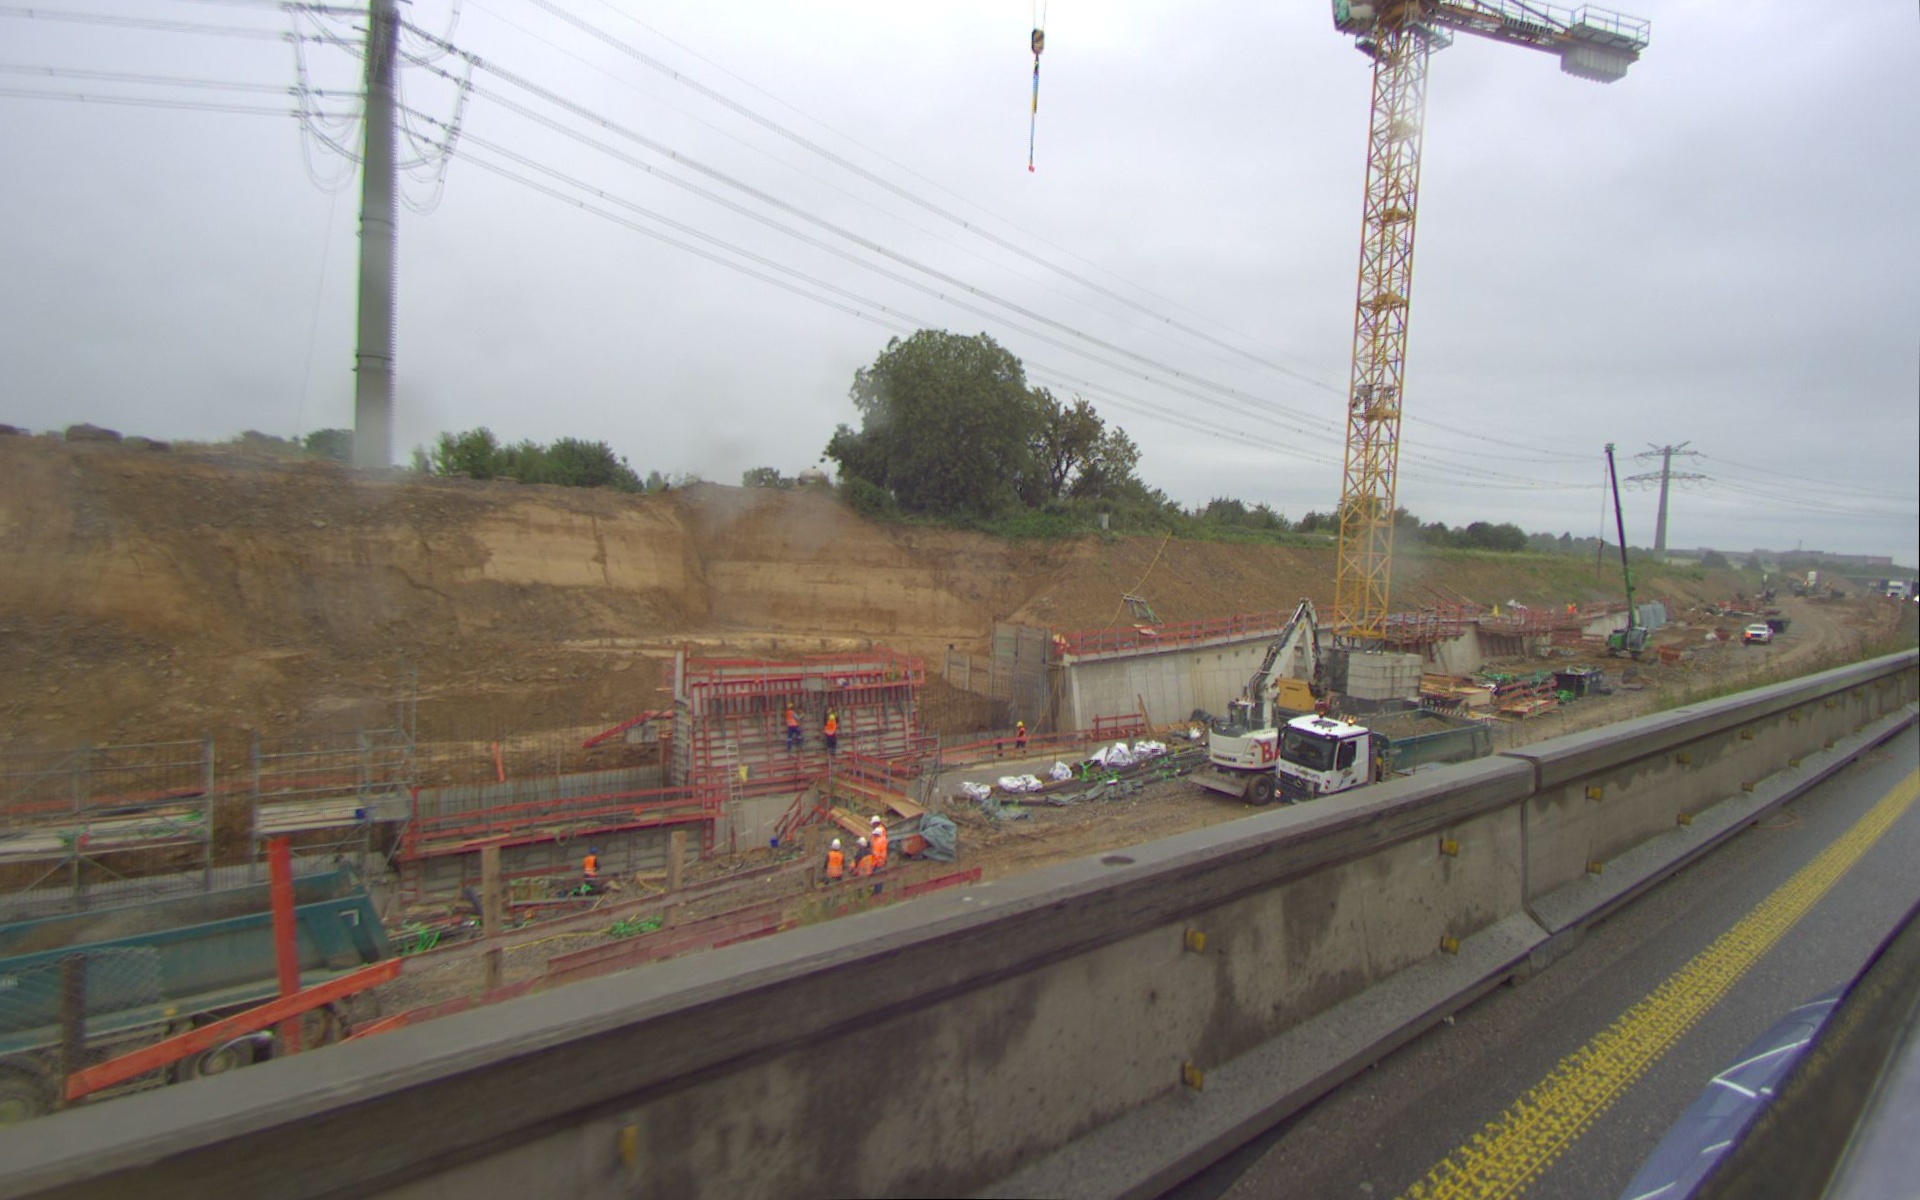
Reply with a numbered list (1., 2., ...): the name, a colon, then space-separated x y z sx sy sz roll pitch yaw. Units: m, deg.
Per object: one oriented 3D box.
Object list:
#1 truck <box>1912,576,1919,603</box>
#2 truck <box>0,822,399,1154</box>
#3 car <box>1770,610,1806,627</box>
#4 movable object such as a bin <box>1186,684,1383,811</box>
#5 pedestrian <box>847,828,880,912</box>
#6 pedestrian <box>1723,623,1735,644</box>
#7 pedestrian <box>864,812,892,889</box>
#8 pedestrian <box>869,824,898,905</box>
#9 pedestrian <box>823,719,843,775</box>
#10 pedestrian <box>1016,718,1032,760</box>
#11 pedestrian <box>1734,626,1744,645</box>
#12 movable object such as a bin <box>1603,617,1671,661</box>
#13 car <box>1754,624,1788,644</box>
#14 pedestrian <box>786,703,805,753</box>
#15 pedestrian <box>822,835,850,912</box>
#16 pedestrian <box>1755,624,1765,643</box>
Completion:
1. truck: 143.473 -1.621 149.347 8.190 3.942 3.542 -1 0 -41
2. truck: -14.787 6.599 17.172 8.907 3.655 2.712 -2 4 -37
3. car: 91.902 2.034 112.274 4.776 1.638 2.349 -1 3 -42
4. movable object such as a bin: 11.948 5.208 37.202 6.523 3.466 3.523 -2 2 -32
5. pedestrian: -2.509 7.008 26.327 0.603 1.928 0.603 -1 3 -39
6. pedestrian: 69.939 3.028 92.046 0.655 1.881 0.614 -1 3 -39
7. pedestrian: -2.267 6.931 28.046 0.473 1.928 0.603 -1 4 -40
8. pedestrian: -2.029 7.010 26.877 0.473 1.928 0.603 -1 3 -40
9. pedestrian: -5.012 5.779 39.939 0.473 2.127 0.488 -1 -3 -40
10. pedestrian: 2.874 6.247 45.636 0.473 1.781 0.489 -1 4 -40
11. pedestrian: 70.506 3.197 91.560 0.593 1.702 0.613 -1 0 -39
12. movable object such as a bin: 55.734 3.147 83.318 3.930 2.914 3.502 -1 8 -41
13. car: 77.720 3.245 96.991 4.010 1.638 1.858 -1 3 -42
14. pedestrian: -6.358 4.941 39.090 0.571 1.827 0.489 -3 -3 0
15. pedestrian: -3.222 7.096 26.319 0.473 1.791 0.603 -1 2 -39
16. pedestrian: 73.773 3.067 93.340 0.593 1.702 0.613 -1 0 -39
